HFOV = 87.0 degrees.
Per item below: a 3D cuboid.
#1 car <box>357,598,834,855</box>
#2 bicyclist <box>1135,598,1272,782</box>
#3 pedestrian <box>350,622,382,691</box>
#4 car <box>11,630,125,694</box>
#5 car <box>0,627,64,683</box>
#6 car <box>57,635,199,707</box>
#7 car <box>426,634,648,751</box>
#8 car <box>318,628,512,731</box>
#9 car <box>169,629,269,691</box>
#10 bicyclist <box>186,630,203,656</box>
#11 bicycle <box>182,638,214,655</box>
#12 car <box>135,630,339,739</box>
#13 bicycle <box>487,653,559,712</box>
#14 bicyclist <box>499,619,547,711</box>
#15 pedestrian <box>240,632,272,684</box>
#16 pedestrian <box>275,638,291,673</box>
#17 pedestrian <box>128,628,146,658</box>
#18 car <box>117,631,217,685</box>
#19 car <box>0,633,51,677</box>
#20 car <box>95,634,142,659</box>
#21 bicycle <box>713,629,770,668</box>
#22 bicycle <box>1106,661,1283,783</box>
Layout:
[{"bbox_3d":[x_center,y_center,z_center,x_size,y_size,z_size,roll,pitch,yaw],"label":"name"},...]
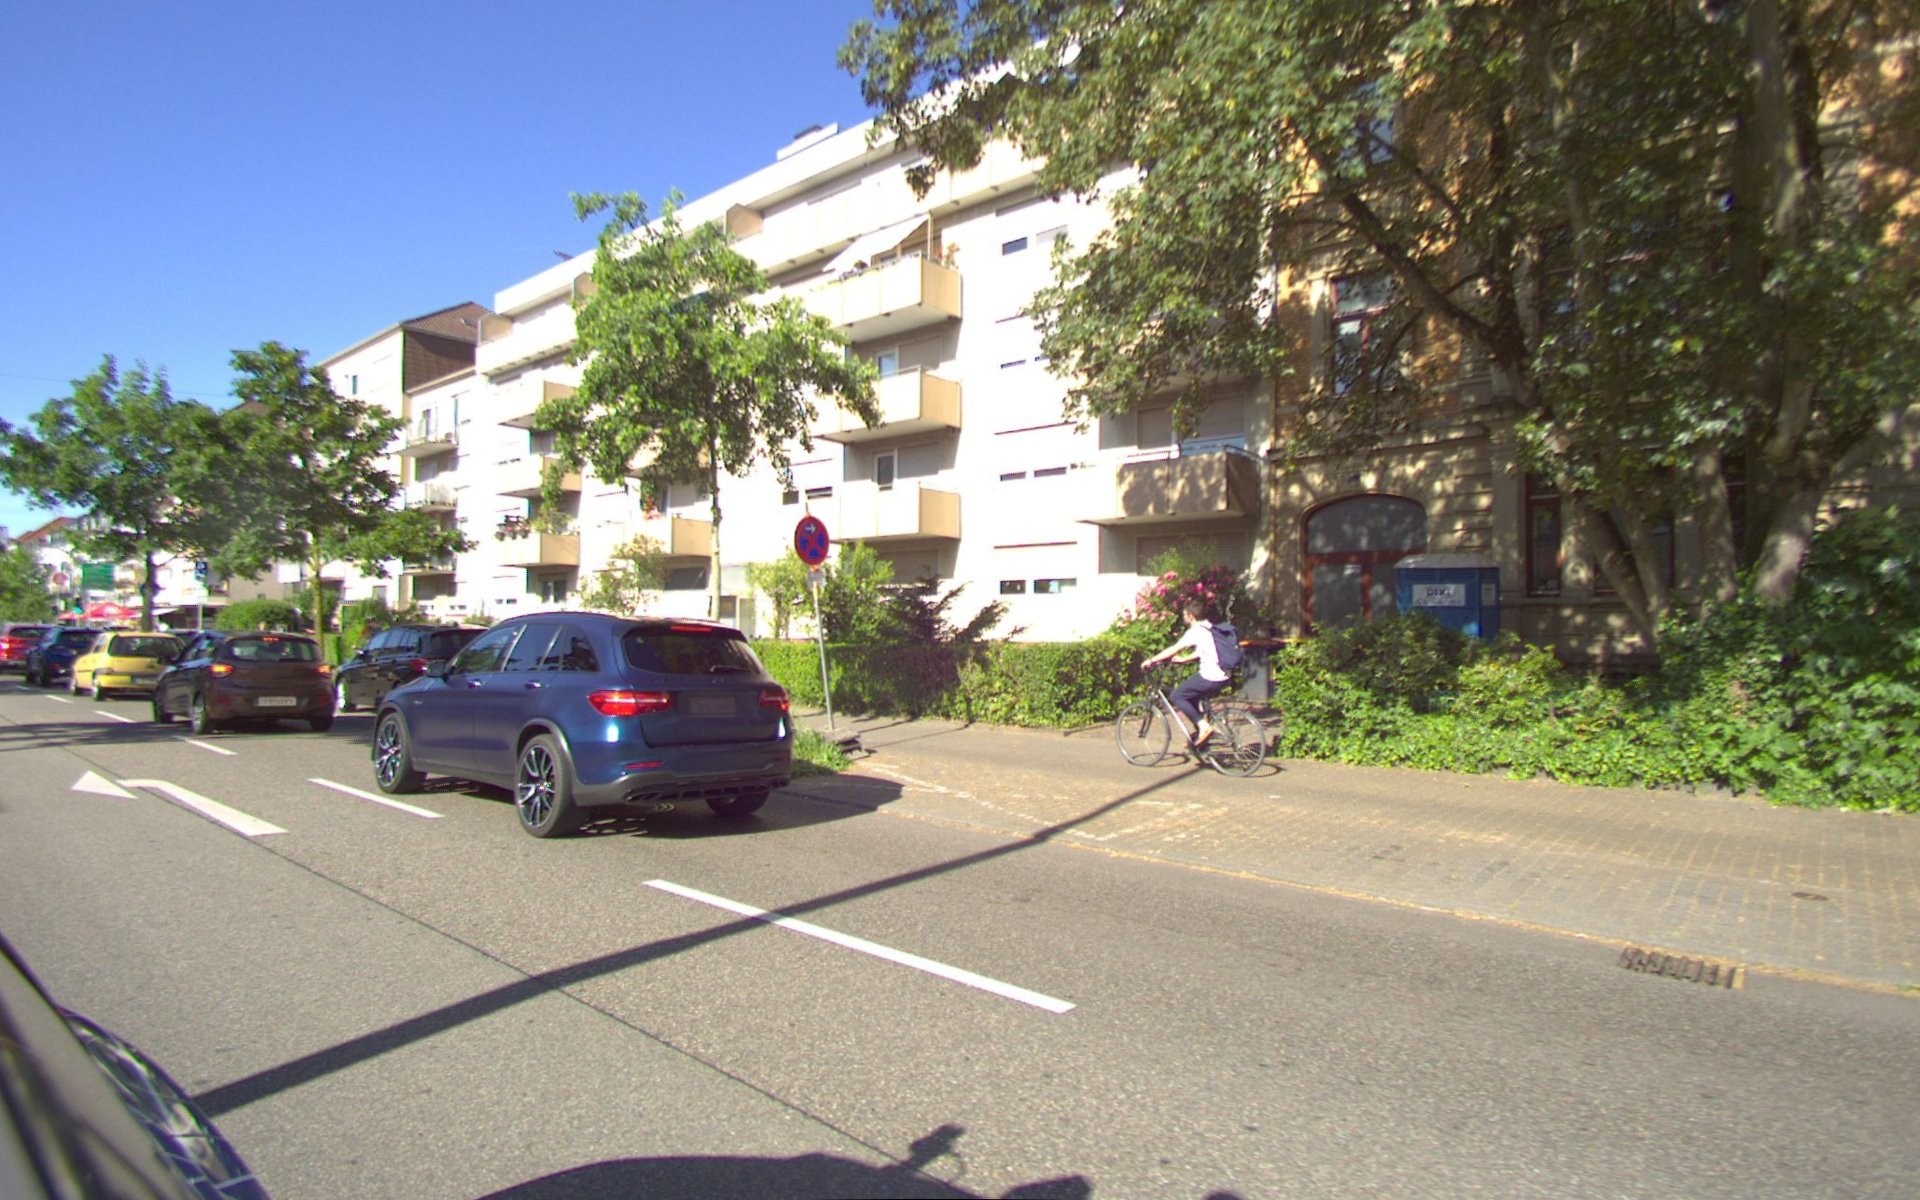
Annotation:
[{"bbox_3d":[-3.251,0.911,8.574,4.398,1.626,1.817,-2,-5,41],"label":"car"},{"bbox_3d":[2.492,0.885,10.408,1.207,1.780,0.576,-2,-1,41],"label":"bicyclist"},{"bbox_3d":[-14.453,1.364,24.631,0.719,1.663,0.464,-2,-2,42],"label":"pedestrian"},{"bbox_3d":[-23.378,1.597,26.477,4.074,1.529,1.638,-2,-5,41],"label":"car"},{"bbox_3d":[-29.946,1.743,32.118,4.298,1.629,1.703,-2,-6,42],"label":"car"},{"bbox_3d":[-17.900,1.492,21.733,3.733,1.414,1.618,-2,-5,40],"label":"car"},{"bbox_3d":[-6.354,1.255,15.008,3.931,1.488,1.584,-2,-2,43],"label":"car"},{"bbox_3d":[-9.833,1.319,18.110,4.393,1.617,1.652,-2,-2,42],"label":"car"},{"bbox_3d":[-19.368,1.529,26.404,3.684,1.501,1.386,-2,-2,42],"label":"car"},{"bbox_3d":[-49.029,2.740,64.826,0.578,1.620,0.677,-2,-3,39],"label":"bicyclist"},{"bbox_3d":[-48.923,2.982,64.979,0.449,1.085,1.545,-2,-3,39],"label":"bicycle"},{"bbox_3d":[-11.111,1.248,15.477,3.742,1.463,1.565,-2,-6,40],"label":"car"},{"bbox_3d":[-8.632,1.605,19.948,1.742,1.081,0.602,-2,-3,41],"label":"bicycle"},{"bbox_3d":[-8.596,1.262,19.929,0.691,1.767,0.602,-2,-3,41],"label":"bicyclist"},{"bbox_3d":[-23.554,1.927,33.861,0.929,1.699,0.662,-2,-2,40],"label":"pedestrian"},{"bbox_3d":[-22.955,1.875,34.299,0.489,1.169,0.331,-2,-2,40],"label":"pedestrian"},{"bbox_3d":[-46.382,2.434,57.010,0.682,1.671,0.650,-2,-3,42],"label":"pedestrian"},{"bbox_3d":[-23.705,1.693,30.218,3.891,1.487,1.489,-2,-2,39],"label":"car"},{"bbox_3d":[-34.615,1.966,36.748,4.776,1.476,1.794,-2,-5,42],"label":"car"},{"bbox_3d":[-55.860,3.051,67.179,4.303,1.635,1.741,-2,-3,42],"label":"car"},{"bbox_3d":[-6.297,1.391,29.164,1.532,1.069,0.505,-1,-2,-22],"label":"bicycle"},{"bbox_3d":[2.391,1.217,10.494,1.763,1.124,0.444,-2,-1,41],"label":"bicycle"}]
